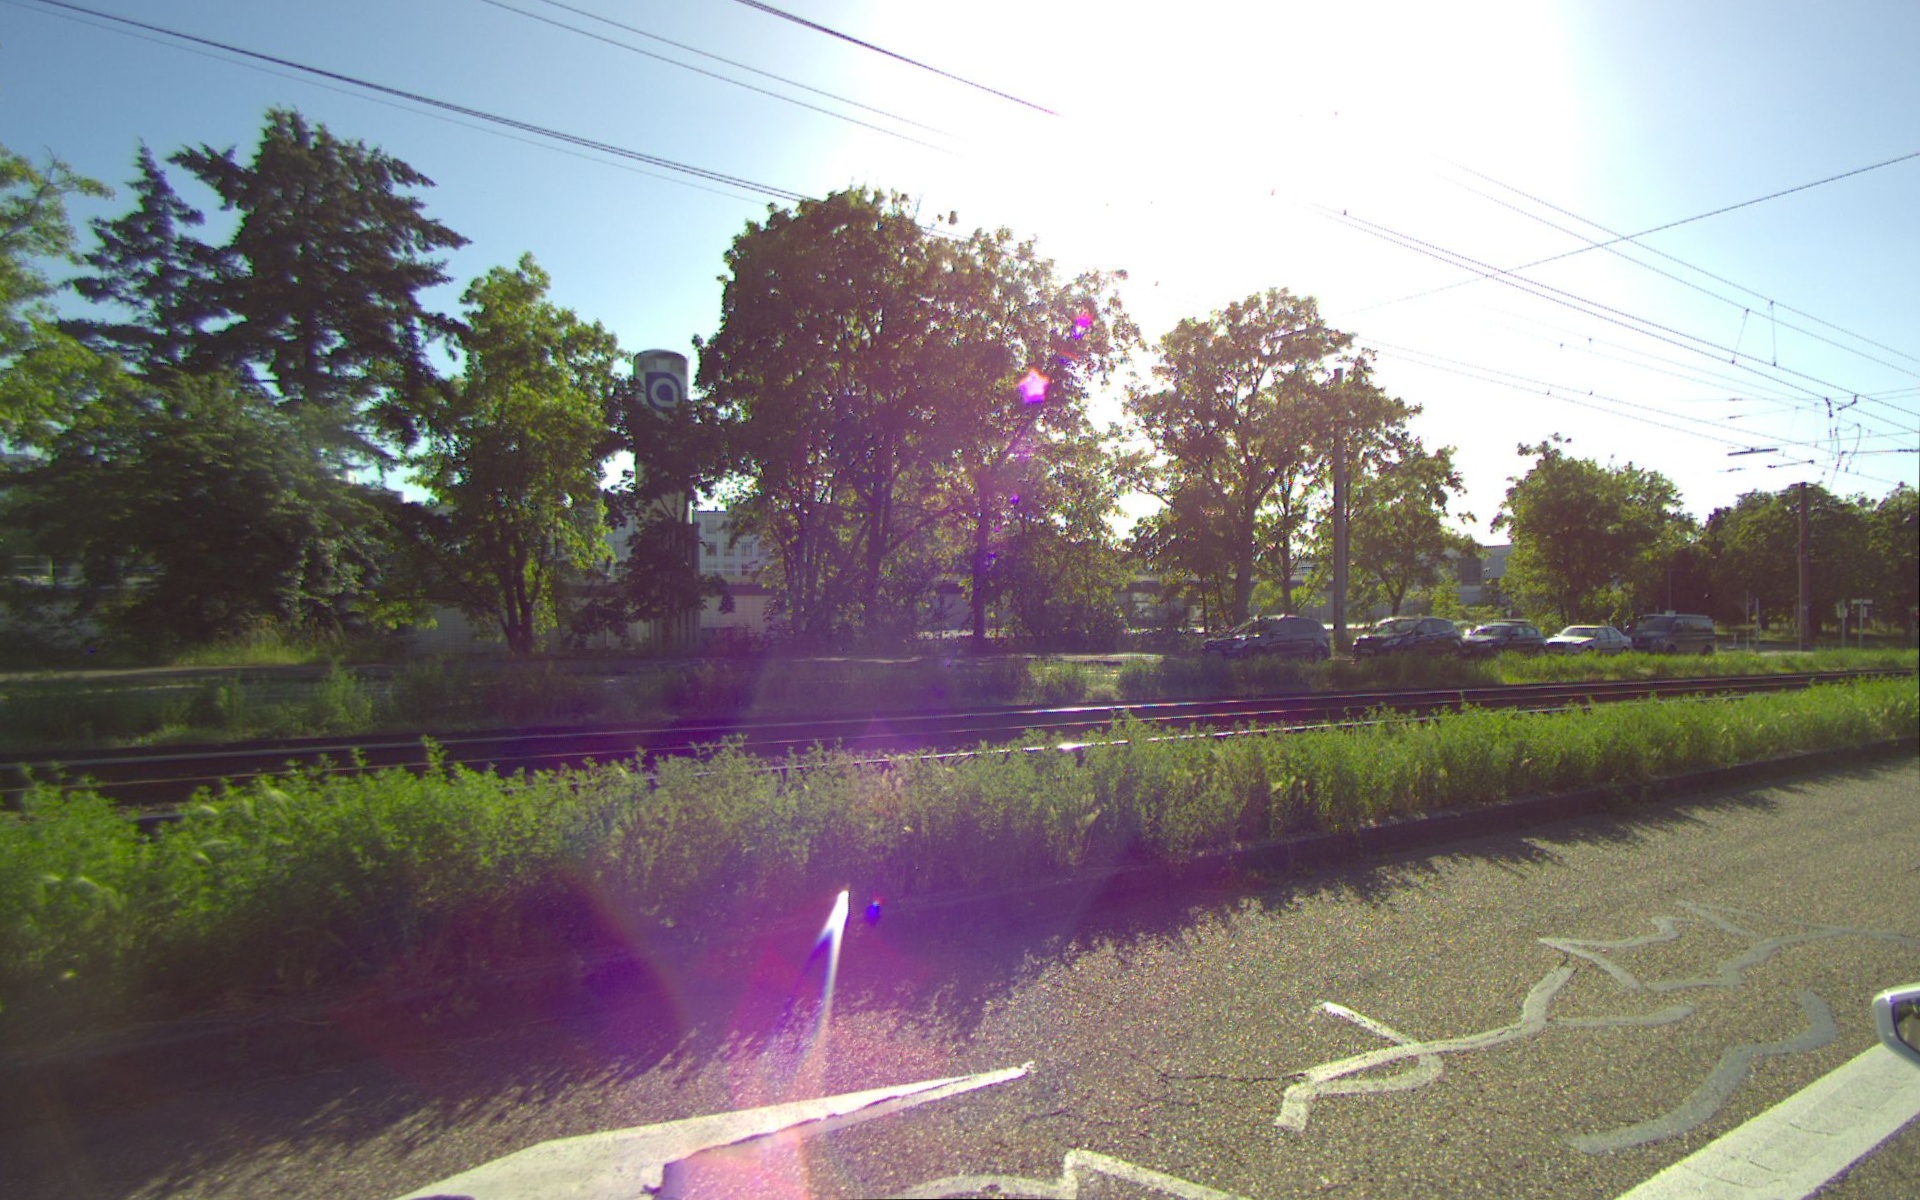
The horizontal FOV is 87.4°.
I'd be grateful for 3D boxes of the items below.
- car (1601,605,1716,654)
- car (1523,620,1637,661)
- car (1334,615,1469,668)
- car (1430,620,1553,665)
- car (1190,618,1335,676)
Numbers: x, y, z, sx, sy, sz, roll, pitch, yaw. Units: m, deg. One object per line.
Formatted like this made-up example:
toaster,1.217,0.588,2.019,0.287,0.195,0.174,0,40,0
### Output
car,29.717,1.235,42.722,4.734,1.916,2.187,1,0,-30
car,24.400,1.570,39.490,4.641,1.457,1.918,1,0,-32
car,14.559,1.339,33.067,4.388,1.595,1.982,1,0,-33
car,19.109,1.487,36.074,4.365,1.457,1.983,1,0,-32
car,8.930,1.361,29.507,4.282,1.514,1.724,2,1,-34
